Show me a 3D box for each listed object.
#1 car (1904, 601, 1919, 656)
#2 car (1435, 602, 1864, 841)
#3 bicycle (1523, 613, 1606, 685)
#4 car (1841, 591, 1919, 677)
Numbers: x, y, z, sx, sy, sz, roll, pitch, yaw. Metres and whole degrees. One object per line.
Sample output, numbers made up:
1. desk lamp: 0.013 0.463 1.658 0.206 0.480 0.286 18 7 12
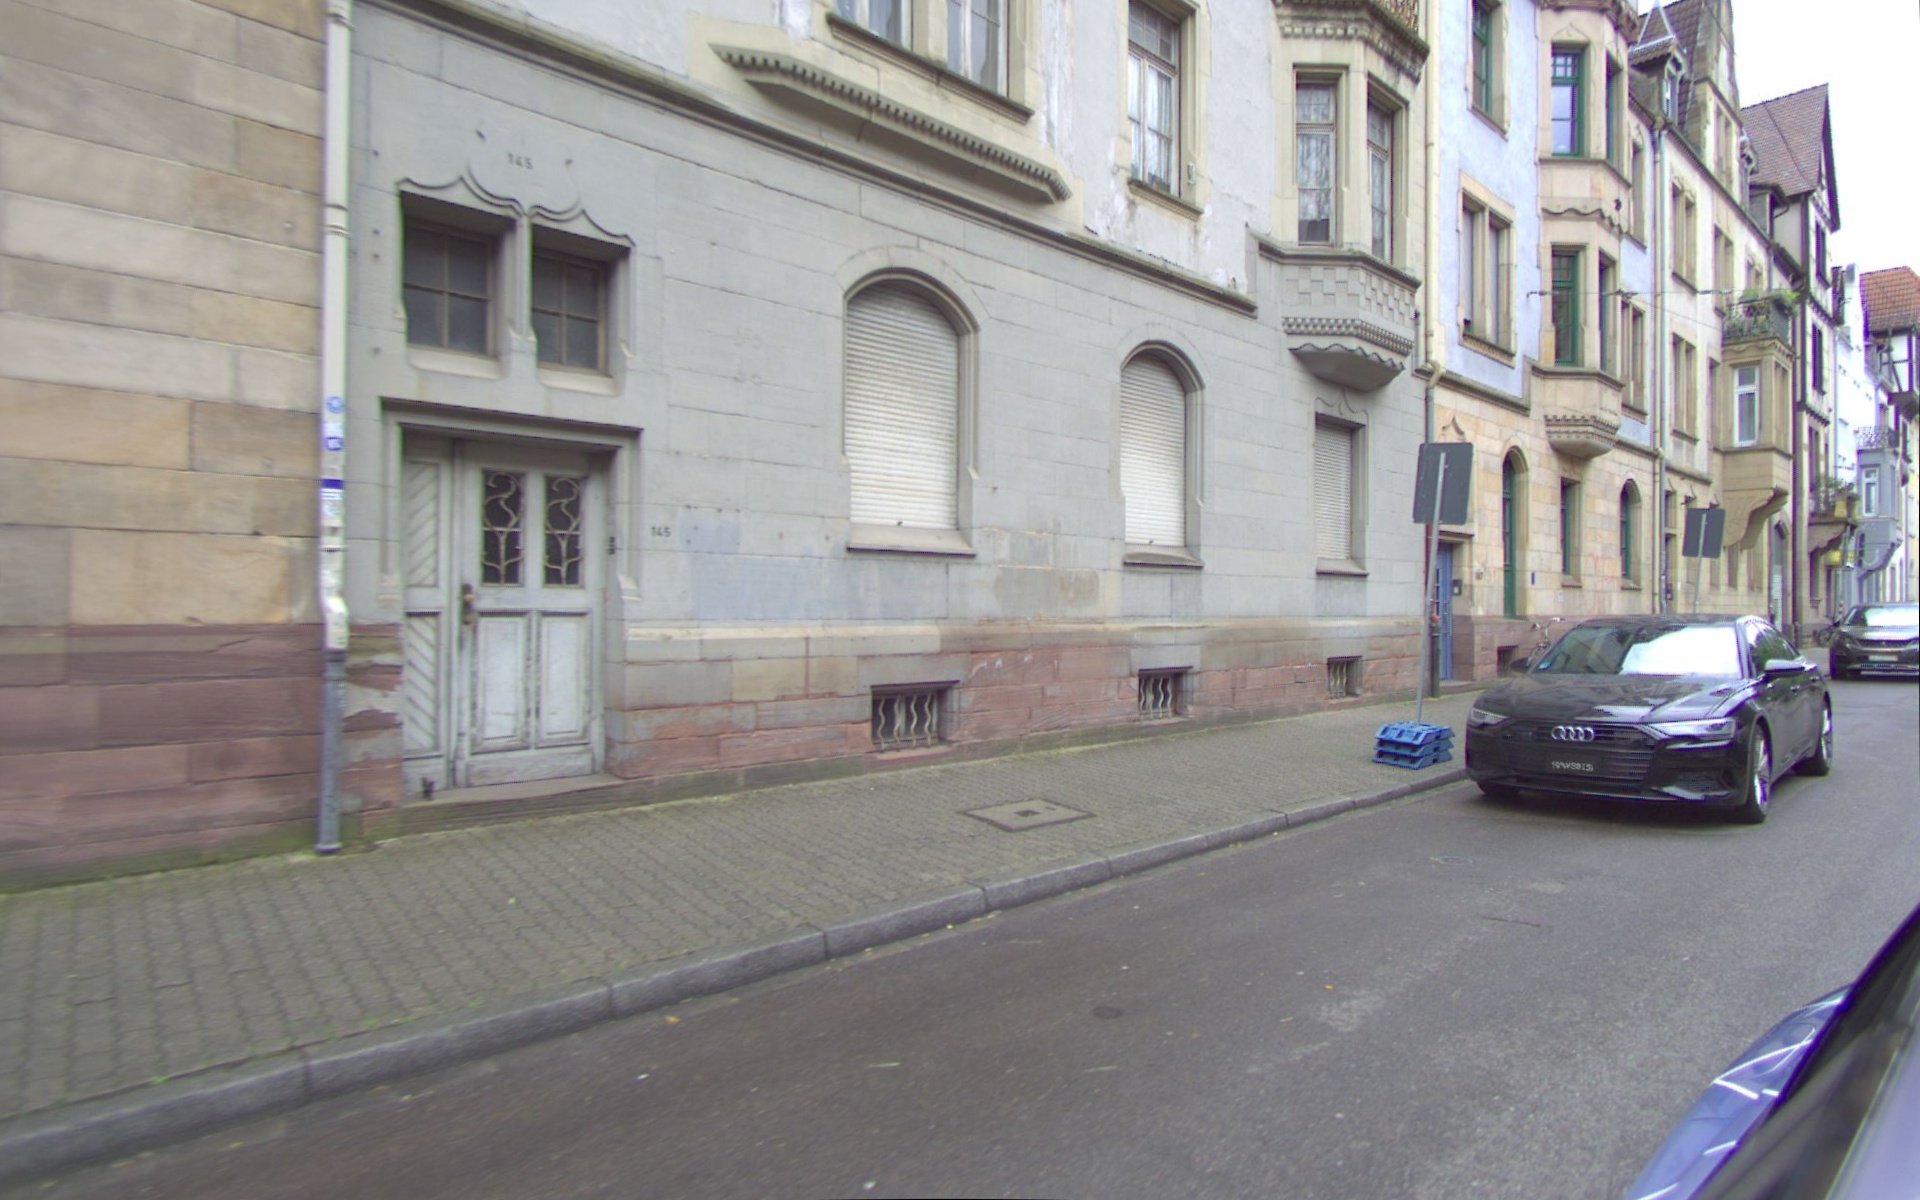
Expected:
1. car: 28.651 0.780 29.204 4.345 1.533 1.699 1 -3 -43
2. car: 6.060 0.794 8.582 5.106 1.457 1.803 0 -3 -42
3. bicycle: 10.103 0.799 16.884 1.883 1.141 0.611 0 -3 -42
4. car: 19.952 0.667 21.228 4.615 1.643 1.761 1 -1 -43
